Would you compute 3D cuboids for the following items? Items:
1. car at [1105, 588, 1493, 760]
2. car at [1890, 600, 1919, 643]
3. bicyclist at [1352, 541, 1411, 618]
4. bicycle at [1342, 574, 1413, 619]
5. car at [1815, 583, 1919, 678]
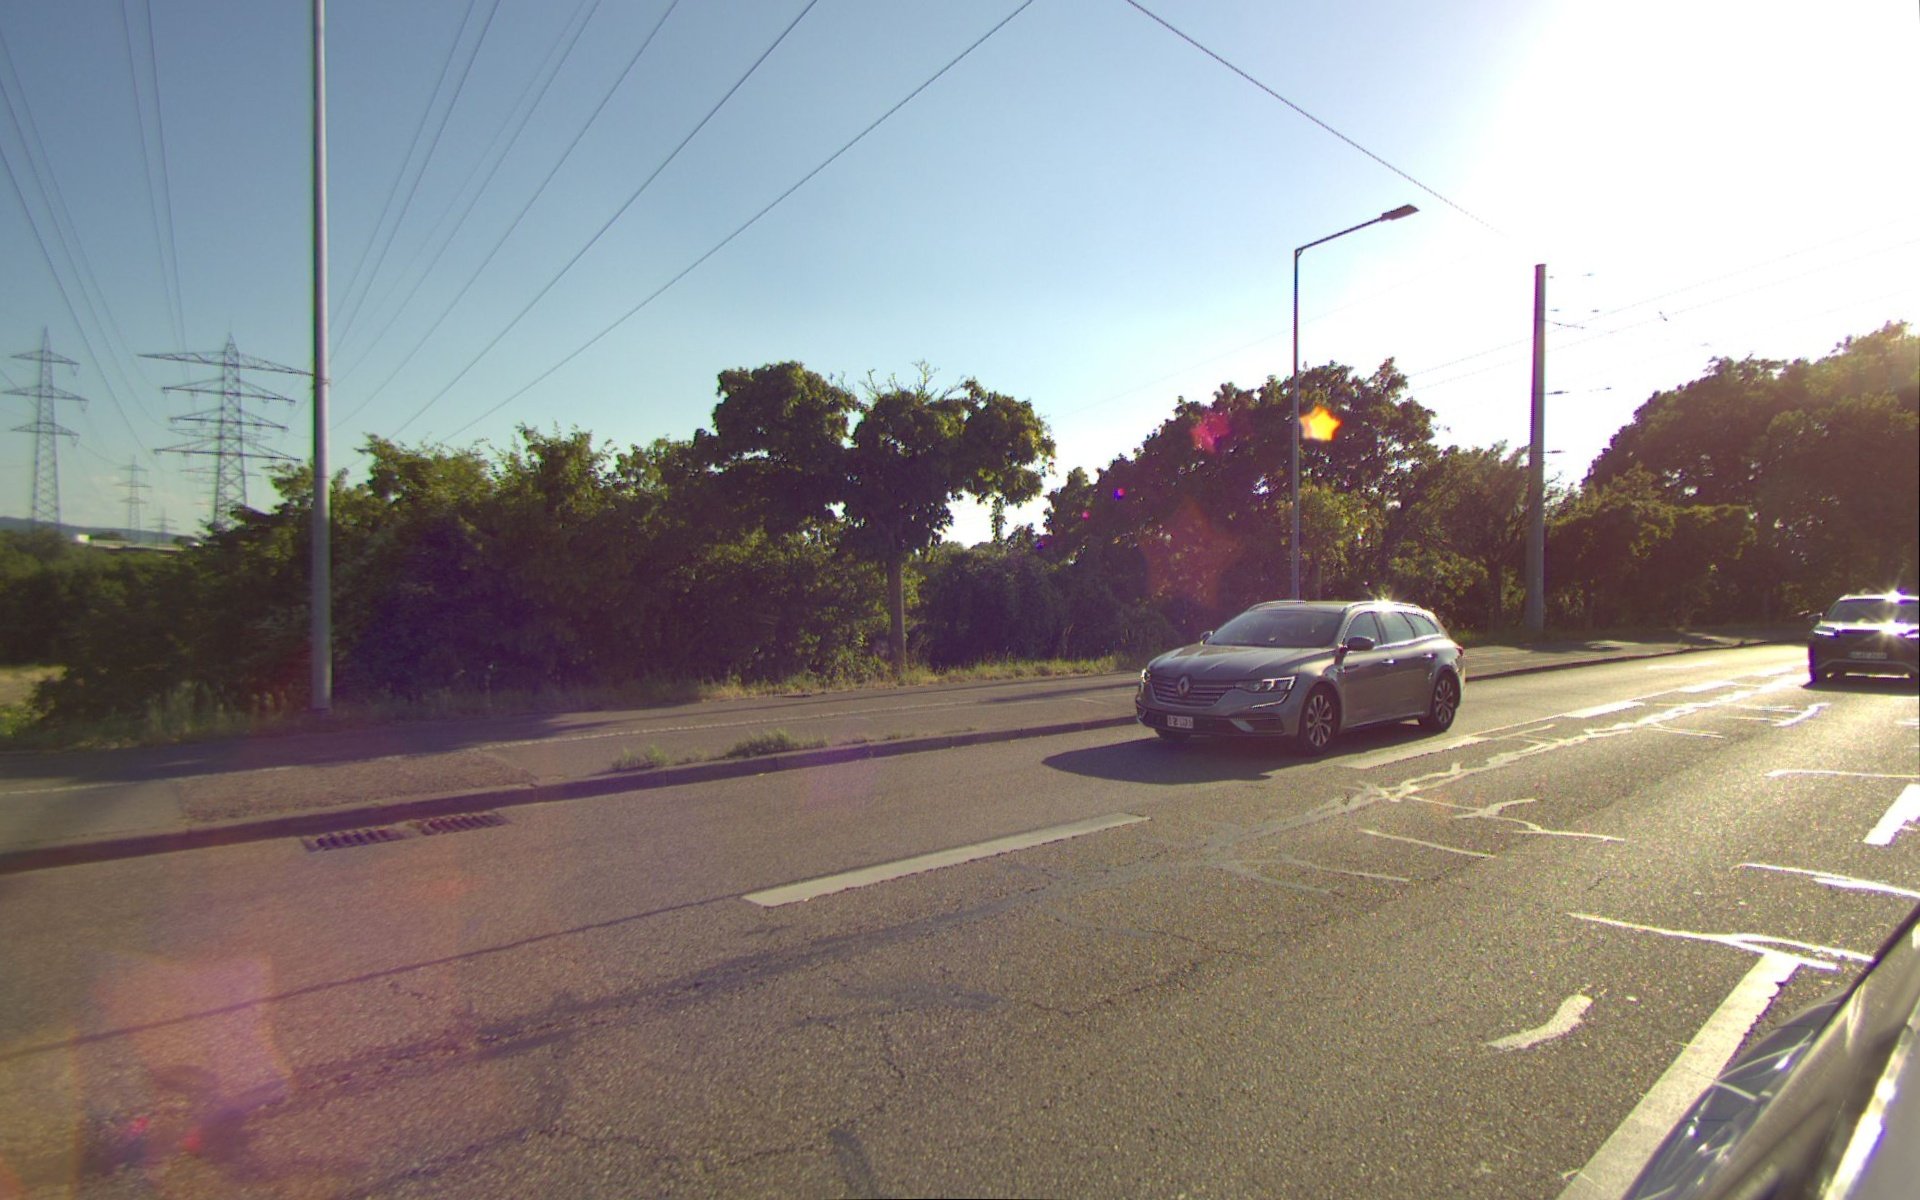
[{"bbox_3d":[3.828,0.620,11.006,4.577,1.461,1.880,-1,1,-40],"label":"car"},{"bbox_3d":[35.177,0.761,36.575,3.932,1.430,1.872,-1,1,-41],"label":"car"},{"bbox_3d":[8.466,-0.421,20.340,1.042,1.488,0.628,-1,4,-41],"label":"bicyclist"},{"bbox_3d":[8.391,-0.089,20.302,1.606,0.844,0.628,-1,5,-41],"label":"bicycle"},{"bbox_3d":[17.929,0.494,19.250,4.339,1.620,1.880,-1,1,-41],"label":"car"}]
